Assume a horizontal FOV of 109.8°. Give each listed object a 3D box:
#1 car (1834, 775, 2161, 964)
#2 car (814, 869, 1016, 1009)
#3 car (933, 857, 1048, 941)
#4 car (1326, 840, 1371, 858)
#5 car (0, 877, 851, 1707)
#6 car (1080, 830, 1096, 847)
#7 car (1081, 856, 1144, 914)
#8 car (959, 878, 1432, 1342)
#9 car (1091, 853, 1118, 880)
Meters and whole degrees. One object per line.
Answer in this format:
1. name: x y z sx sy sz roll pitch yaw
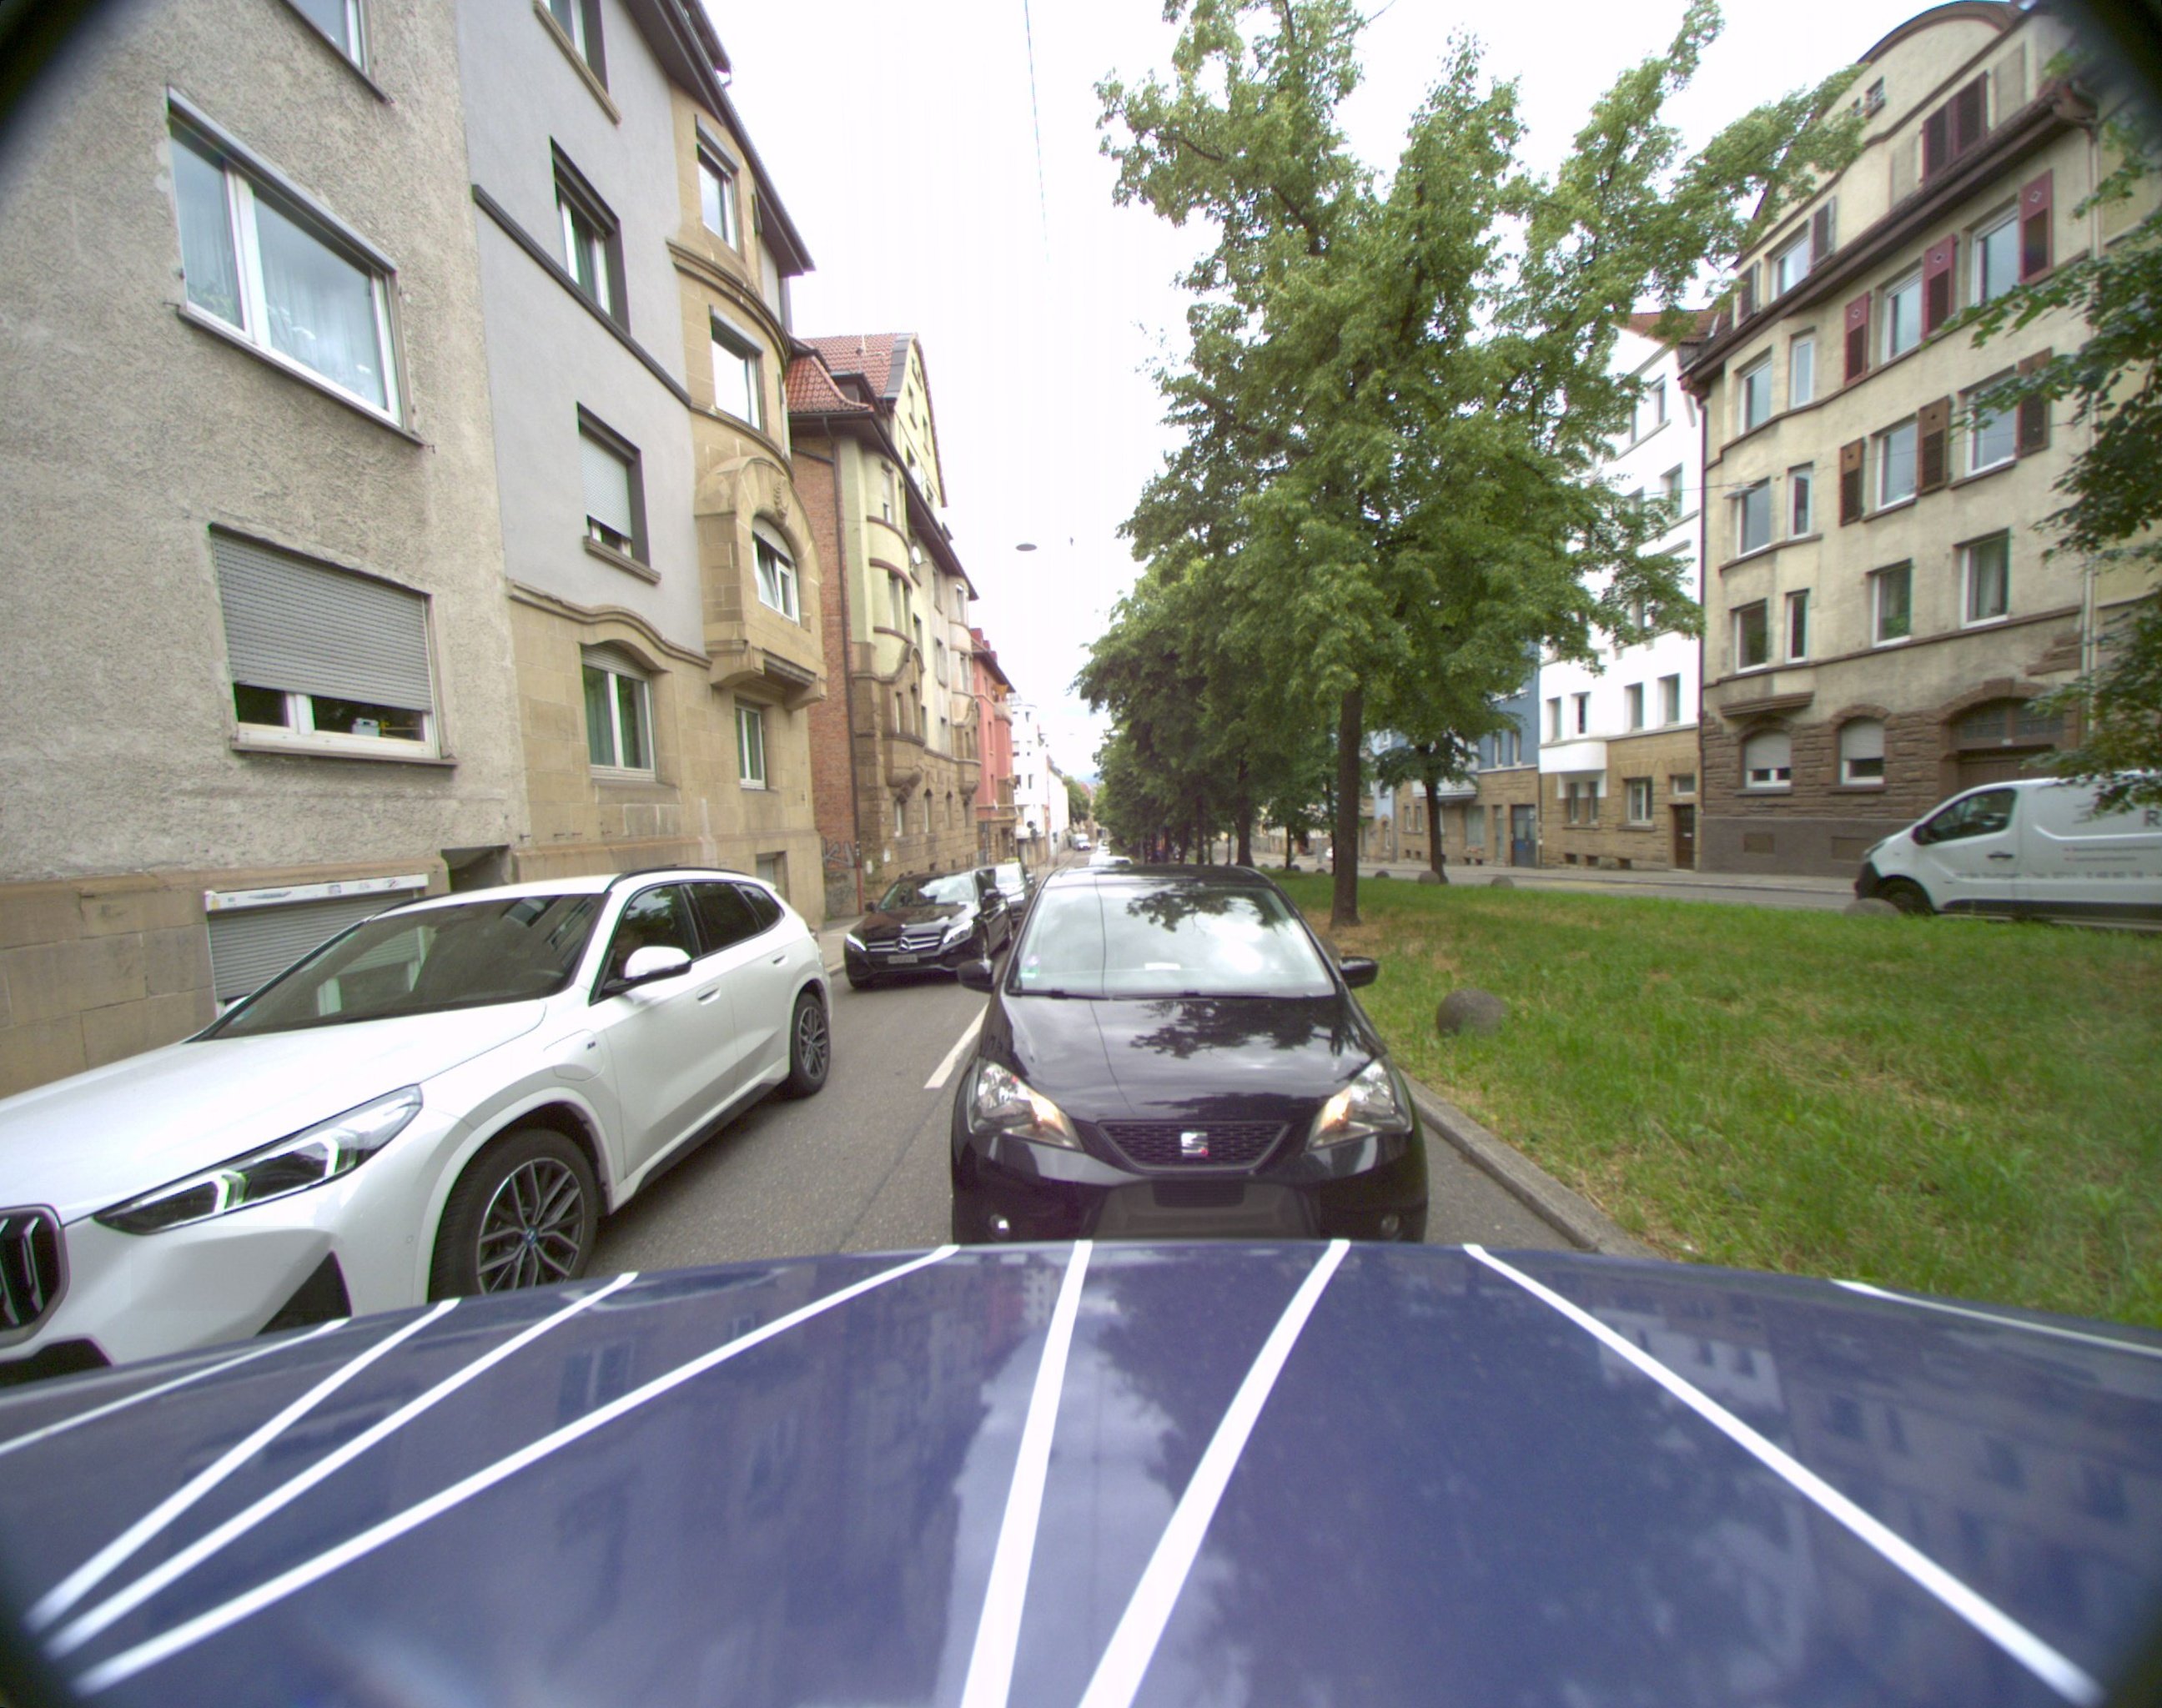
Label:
1. car: 12.087 0.114 8.552 1.998 1.933 5.307 -3 0 2
2. car: -2.169 1.066 11.232 1.884 1.369 4.205 -6 1 1
3. car: -1.996 0.956 18.041 1.936 1.506 4.303 -6 1 2
4. car: 22.185 -0.425 63.112 3.291 1.323 1.672 -2 1 10
5. car: -2.804 1.079 3.706 1.859 1.547 4.350 -6 1 0
6. car: 1.229 -2.654 134.099 2.716 2.879 6.452 -2 1 -1
7. car: 0.885 0.849 22.533 1.664 1.456 3.580 -2 1 1
8. car: 0.413 0.936 4.251 1.611 1.457 3.296 0 1 1
9. car: 1.437 0.751 47.369 1.607 1.492 3.737 -2 1 1
